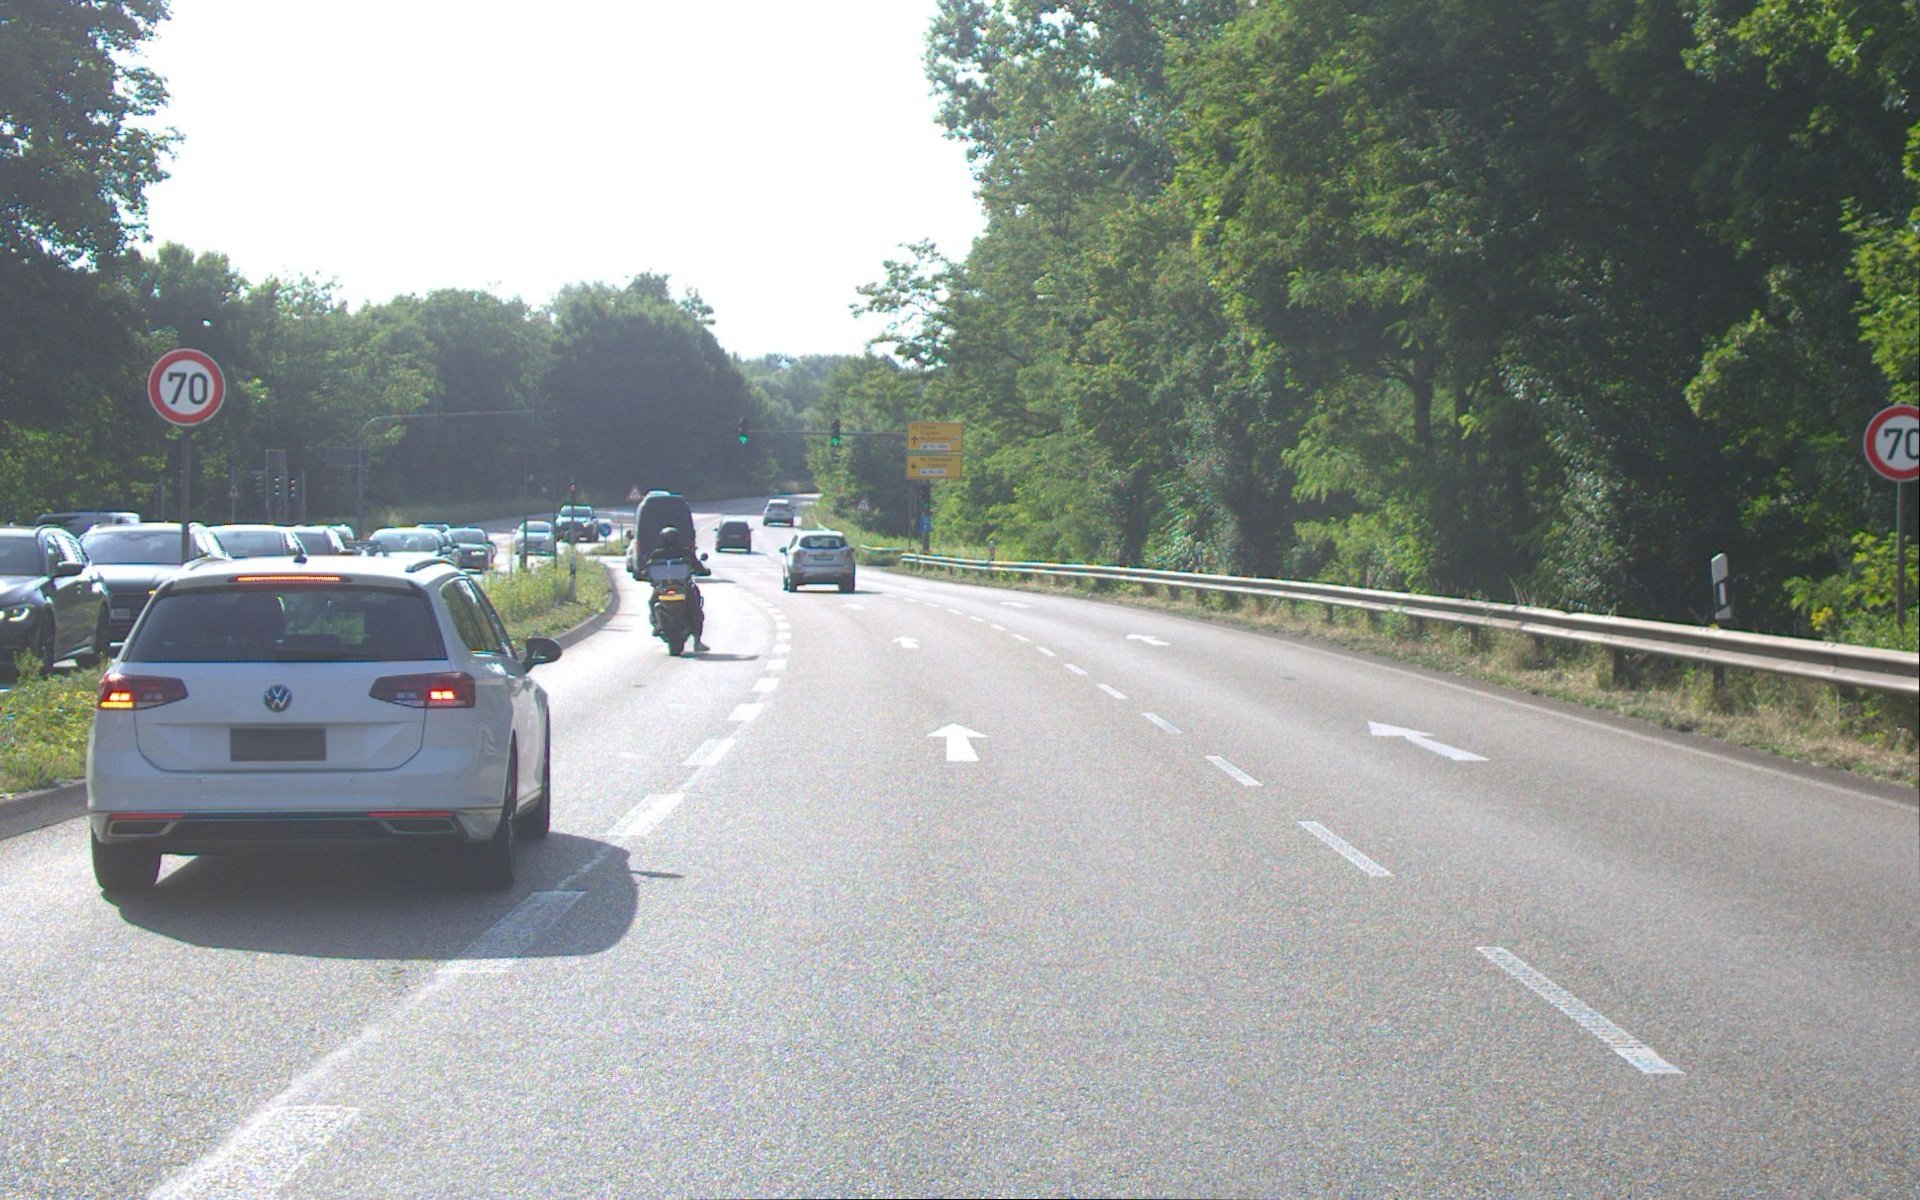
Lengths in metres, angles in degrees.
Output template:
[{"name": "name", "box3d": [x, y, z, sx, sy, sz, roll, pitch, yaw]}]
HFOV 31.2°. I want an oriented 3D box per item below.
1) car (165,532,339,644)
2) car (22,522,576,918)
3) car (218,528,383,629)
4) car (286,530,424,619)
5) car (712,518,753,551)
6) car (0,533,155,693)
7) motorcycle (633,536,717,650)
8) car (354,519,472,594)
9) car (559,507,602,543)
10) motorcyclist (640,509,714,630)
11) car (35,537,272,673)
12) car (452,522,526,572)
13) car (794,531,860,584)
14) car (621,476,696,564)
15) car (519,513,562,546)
[{"name": "car", "box3d": [-9.670, -0.194, 47.223, 1.706, 1.418, 4.212, -1, 2, -3]}, {"name": "car", "box3d": [-2.938, 0.433, 16.313, 1.870, 1.516, 4.835, 2, 2, -3]}, {"name": "car", "box3d": [-10.074, -0.371, 52.874, 1.767, 1.418, 5.194, -1, 2, -3]}, {"name": "car", "box3d": [-10.358, -0.467, 59.122, 1.767, 1.412, 4.435, -1, 2, -3]}, {"name": "car", "box3d": [-10.969, -3.162, 165.498, 1.744, 1.532, 3.927, 2, 1, -7]}, {"name": "car", "box3d": [-9.069, 0.073, 32.953, 1.771, 1.375, 4.844, -1, 2, -3]}, {"name": "motorcycle", "box3d": [-3.908, -0.122, 47.300, 0.908, 1.448, 2.689, -2, 2, -1]}, {"name": "car", "box3d": [-10.978, -0.901, 69.238, 1.867, 1.412, 4.416, -1, 2, -3]}, {"name": "car", "box3d": [-19.384, -3.842, 175.751, 2.075, 1.757, 4.758, -1, 2, -6]}, {"name": "motorcyclist", "box3d": [-3.880, -0.424, 47.223, 0.883, 1.610, 1.290, 2, 1, -1]}, {"name": "car", "box3d": [-9.350, 0.007, 40.232, 1.771, 1.418, 5.193, -1, 2, -3]}, {"name": "car", "box3d": [-17.153, -1.955, 125.498, 2.102, 1.702, 6.226, -1, 2, -3]}, {"name": "car", "box3d": [-3.681, -1.190, 95.249, 1.761, 1.375, 3.972, 2, 1, -2]}, {"name": "car", "box3d": [-10.093, -2.705, 115.505, 2.209, 2.878, 7.012, -1, 2, -3]}, {"name": "car", "box3d": [-18.820, -3.171, 154.367, 1.788, 1.406, 4.228, 2, 1, -6]}]
